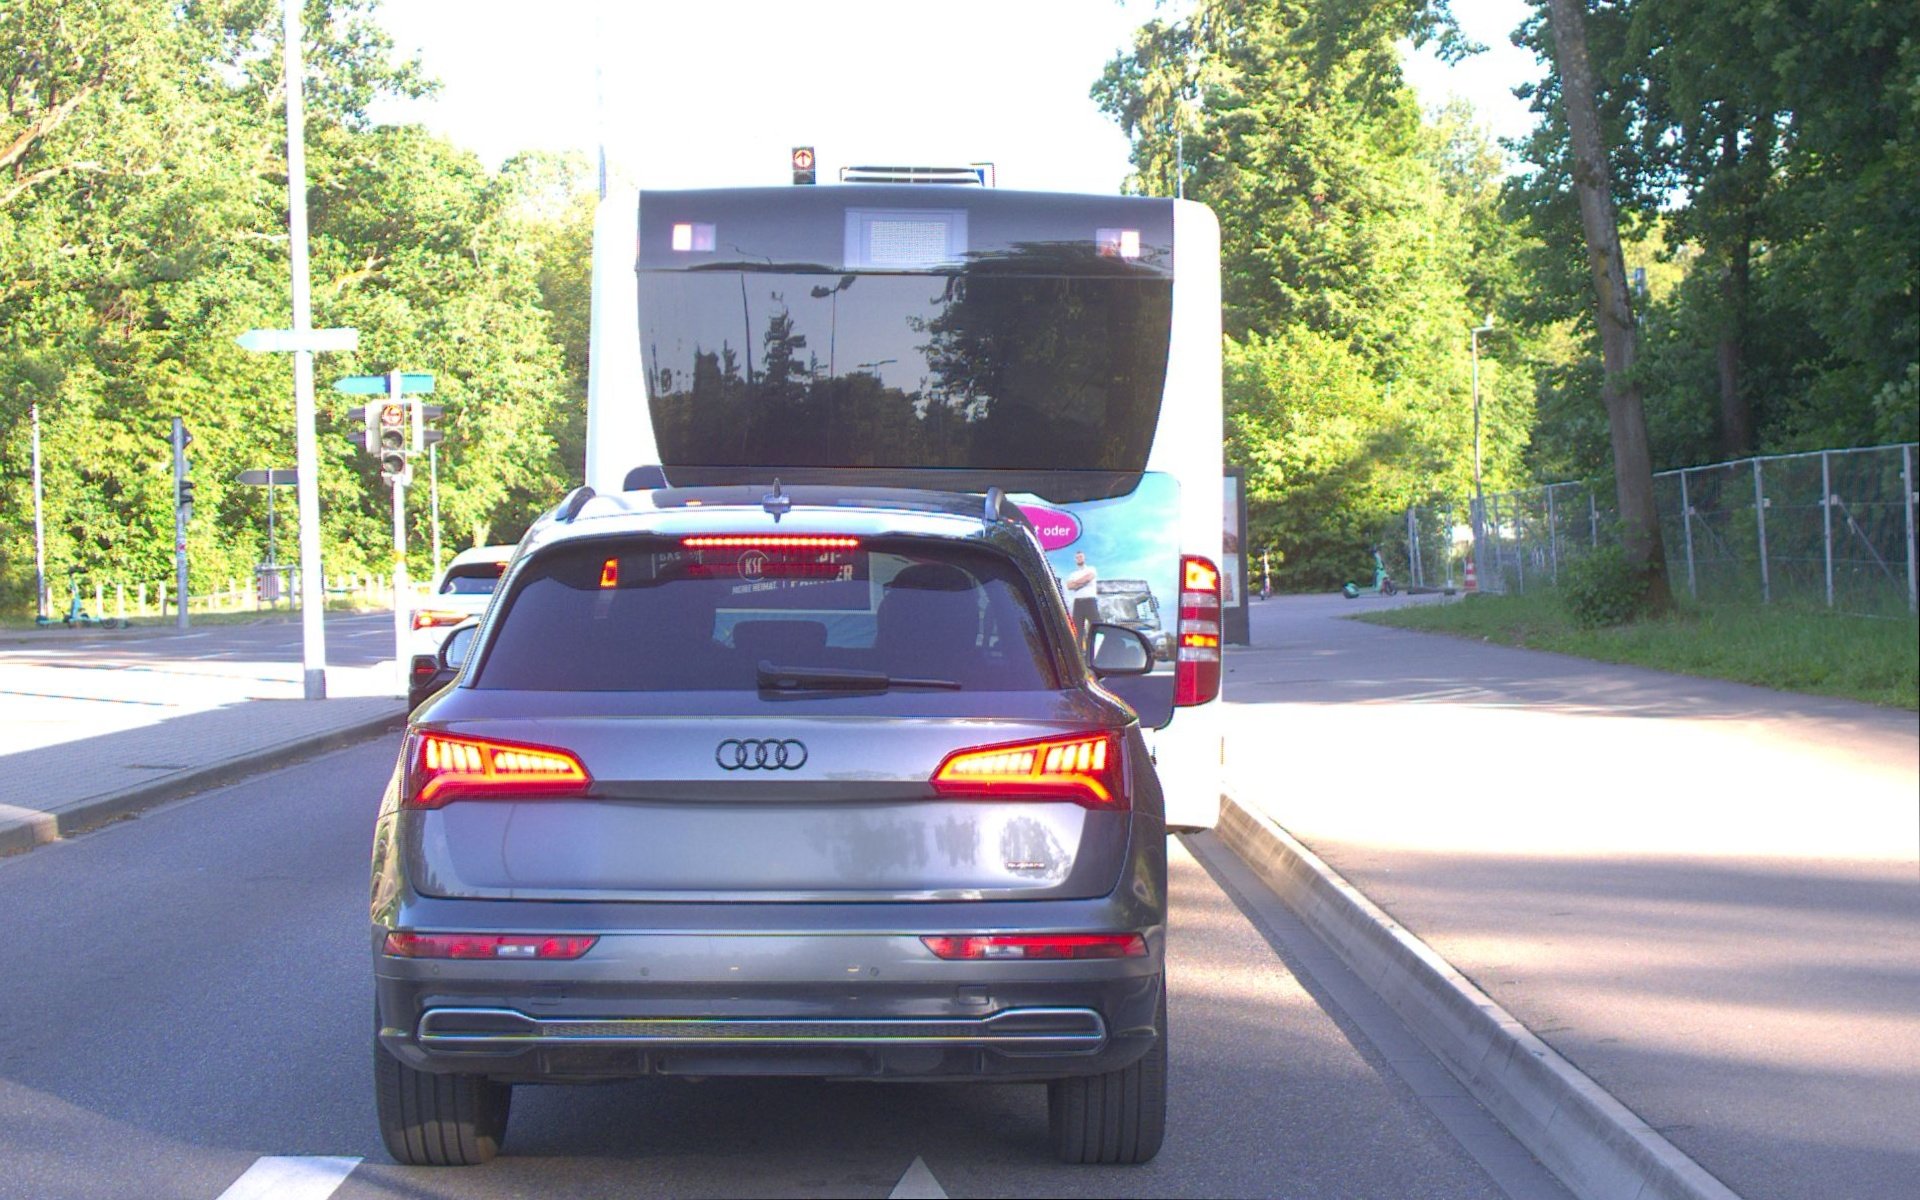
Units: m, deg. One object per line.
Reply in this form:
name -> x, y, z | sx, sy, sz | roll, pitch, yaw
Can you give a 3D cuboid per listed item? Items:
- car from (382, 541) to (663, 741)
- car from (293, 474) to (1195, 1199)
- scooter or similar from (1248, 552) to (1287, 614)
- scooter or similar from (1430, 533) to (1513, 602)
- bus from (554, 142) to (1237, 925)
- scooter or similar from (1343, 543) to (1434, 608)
car -> -3.535, 0.282, 28.423 | 1.836, 1.513, 4.000 | -1, 1, -1
car -> -0.481, 0.520, 9.276 | 1.898, 1.626, 4.000 | 0, 1, -1
scooter or similar -> 7.293, -0.412, 81.592 | 0.508, 1.439, 2.023 | -2, 1, -6
scooter or similar -> 11.935, -0.749, 80.209 | 0.539, 1.562, 2.021 | -3, 1, -40
bus -> -0.300, -0.285, 17.766 | 2.594, 2.979, 9.327 | 0, 0, -1
scooter or similar -> 9.844, -0.564, 78.918 | 2.015, 1.439, 0.606 | -2, 1, -25
